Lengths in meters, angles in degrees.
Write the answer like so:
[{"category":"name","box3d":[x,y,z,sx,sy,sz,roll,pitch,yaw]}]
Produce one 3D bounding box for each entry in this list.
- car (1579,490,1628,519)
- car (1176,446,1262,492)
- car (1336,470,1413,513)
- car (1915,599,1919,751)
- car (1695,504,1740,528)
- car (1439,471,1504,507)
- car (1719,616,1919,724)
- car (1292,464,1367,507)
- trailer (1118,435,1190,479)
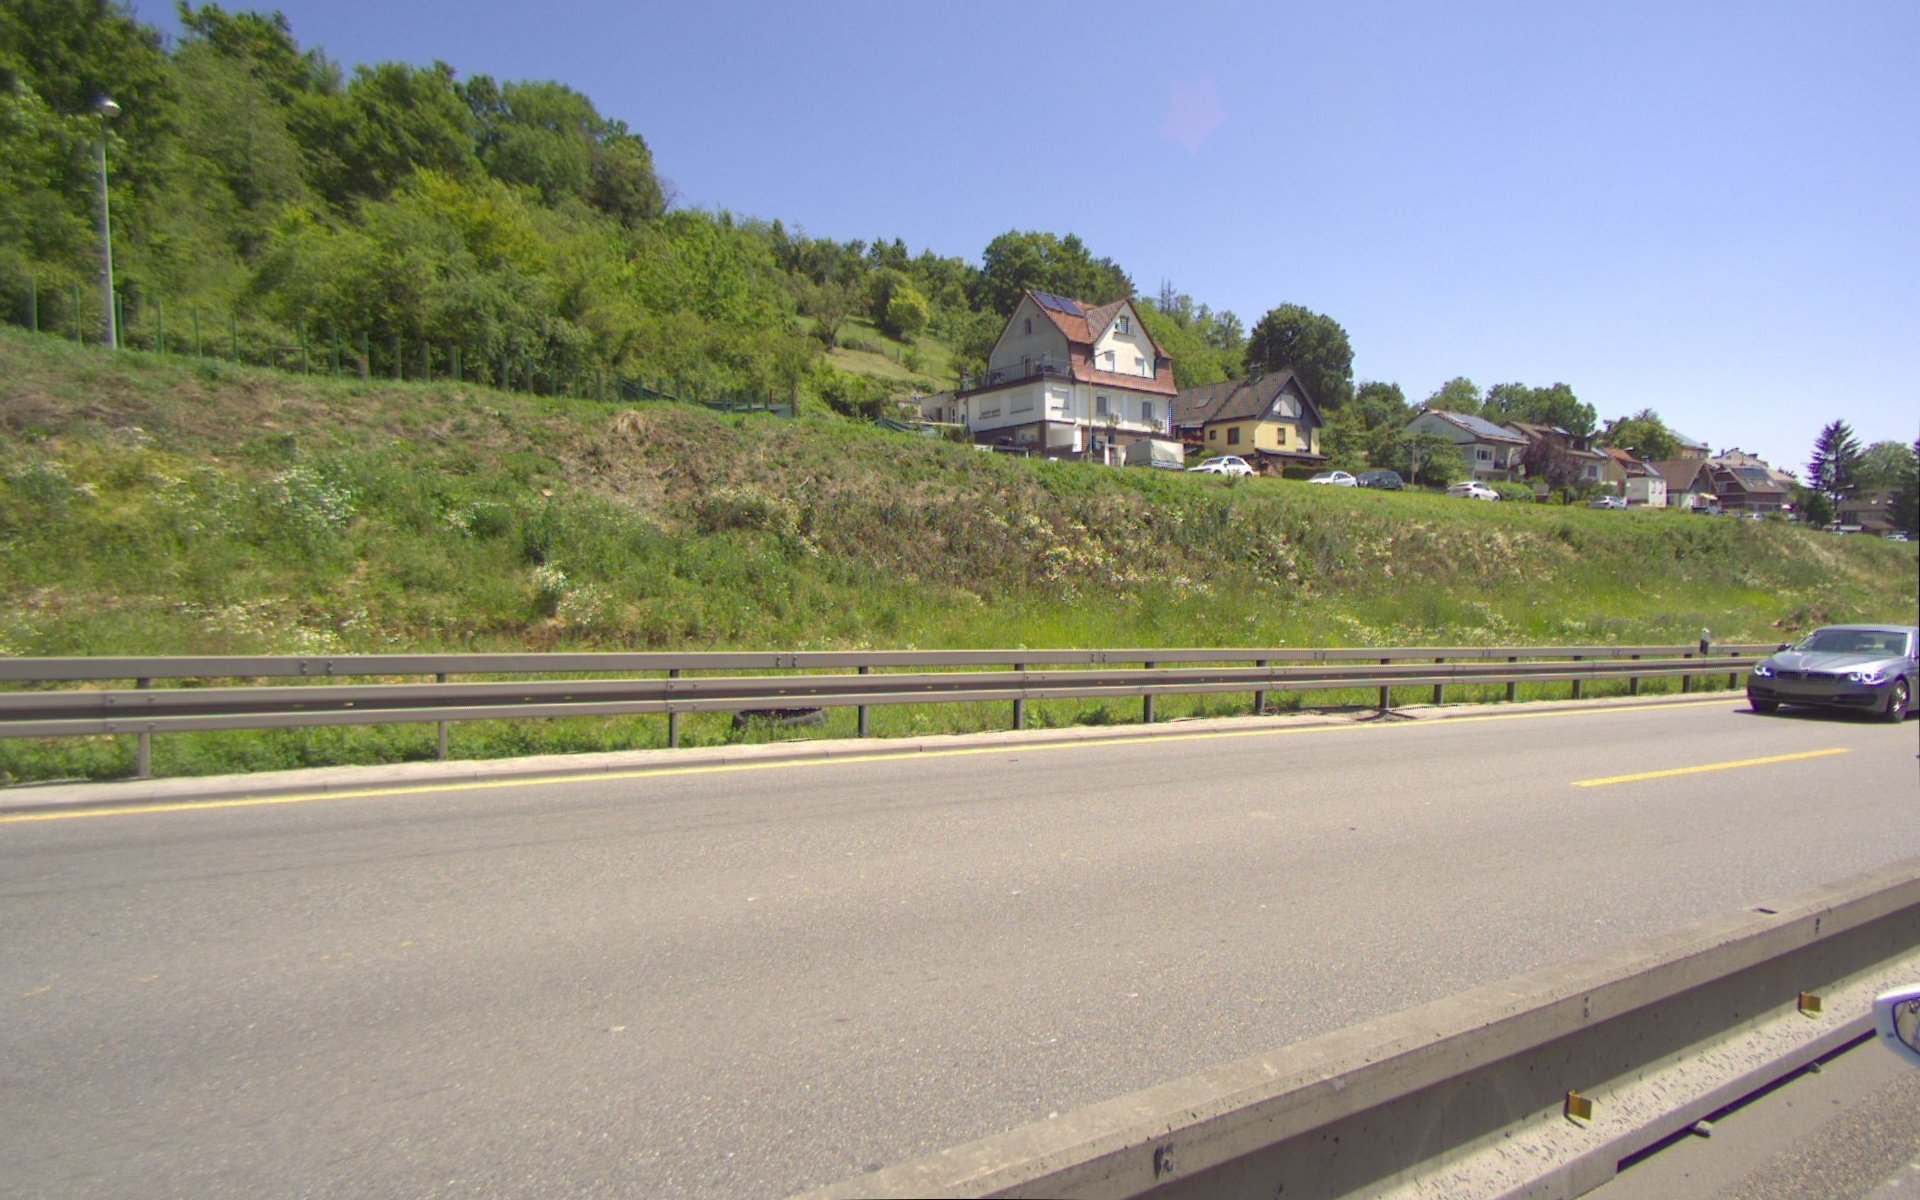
[{"category":"car","box3d":[50.389,-7.430,78.624,3.964,1.818,1.979,2,0,-37]},{"category":"car","box3d":[13.204,-6.611,51.064,4.516,1.678,1.977,2,0,-40]},{"category":"car","box3d":[25.210,-6.527,61.005,4.925,2.035,2.056,2,0,-36]},{"category":"car","box3d":[12.915,0.889,11.484,3.953,1.706,1.861,1,0,-30]},{"category":"car","box3d":[69.870,-7.720,92.634,4.720,1.818,2.162,2,0,-38]},{"category":"car","box3d":[34.621,-7.481,67.972,4.966,1.818,1.979,2,0,-38]},{"category":"car","box3d":[15.154,1.109,16.853,5.238,1.528,1.984,2,0,-30]},{"category":"car","box3d":[21.268,-6.528,57.769,4.389,1.896,1.979,2,0,-37]},{"category":"trailer","box3d":[9.219,-6.744,47.716,3.014,1.536,1.885,2,0,-41]}]
